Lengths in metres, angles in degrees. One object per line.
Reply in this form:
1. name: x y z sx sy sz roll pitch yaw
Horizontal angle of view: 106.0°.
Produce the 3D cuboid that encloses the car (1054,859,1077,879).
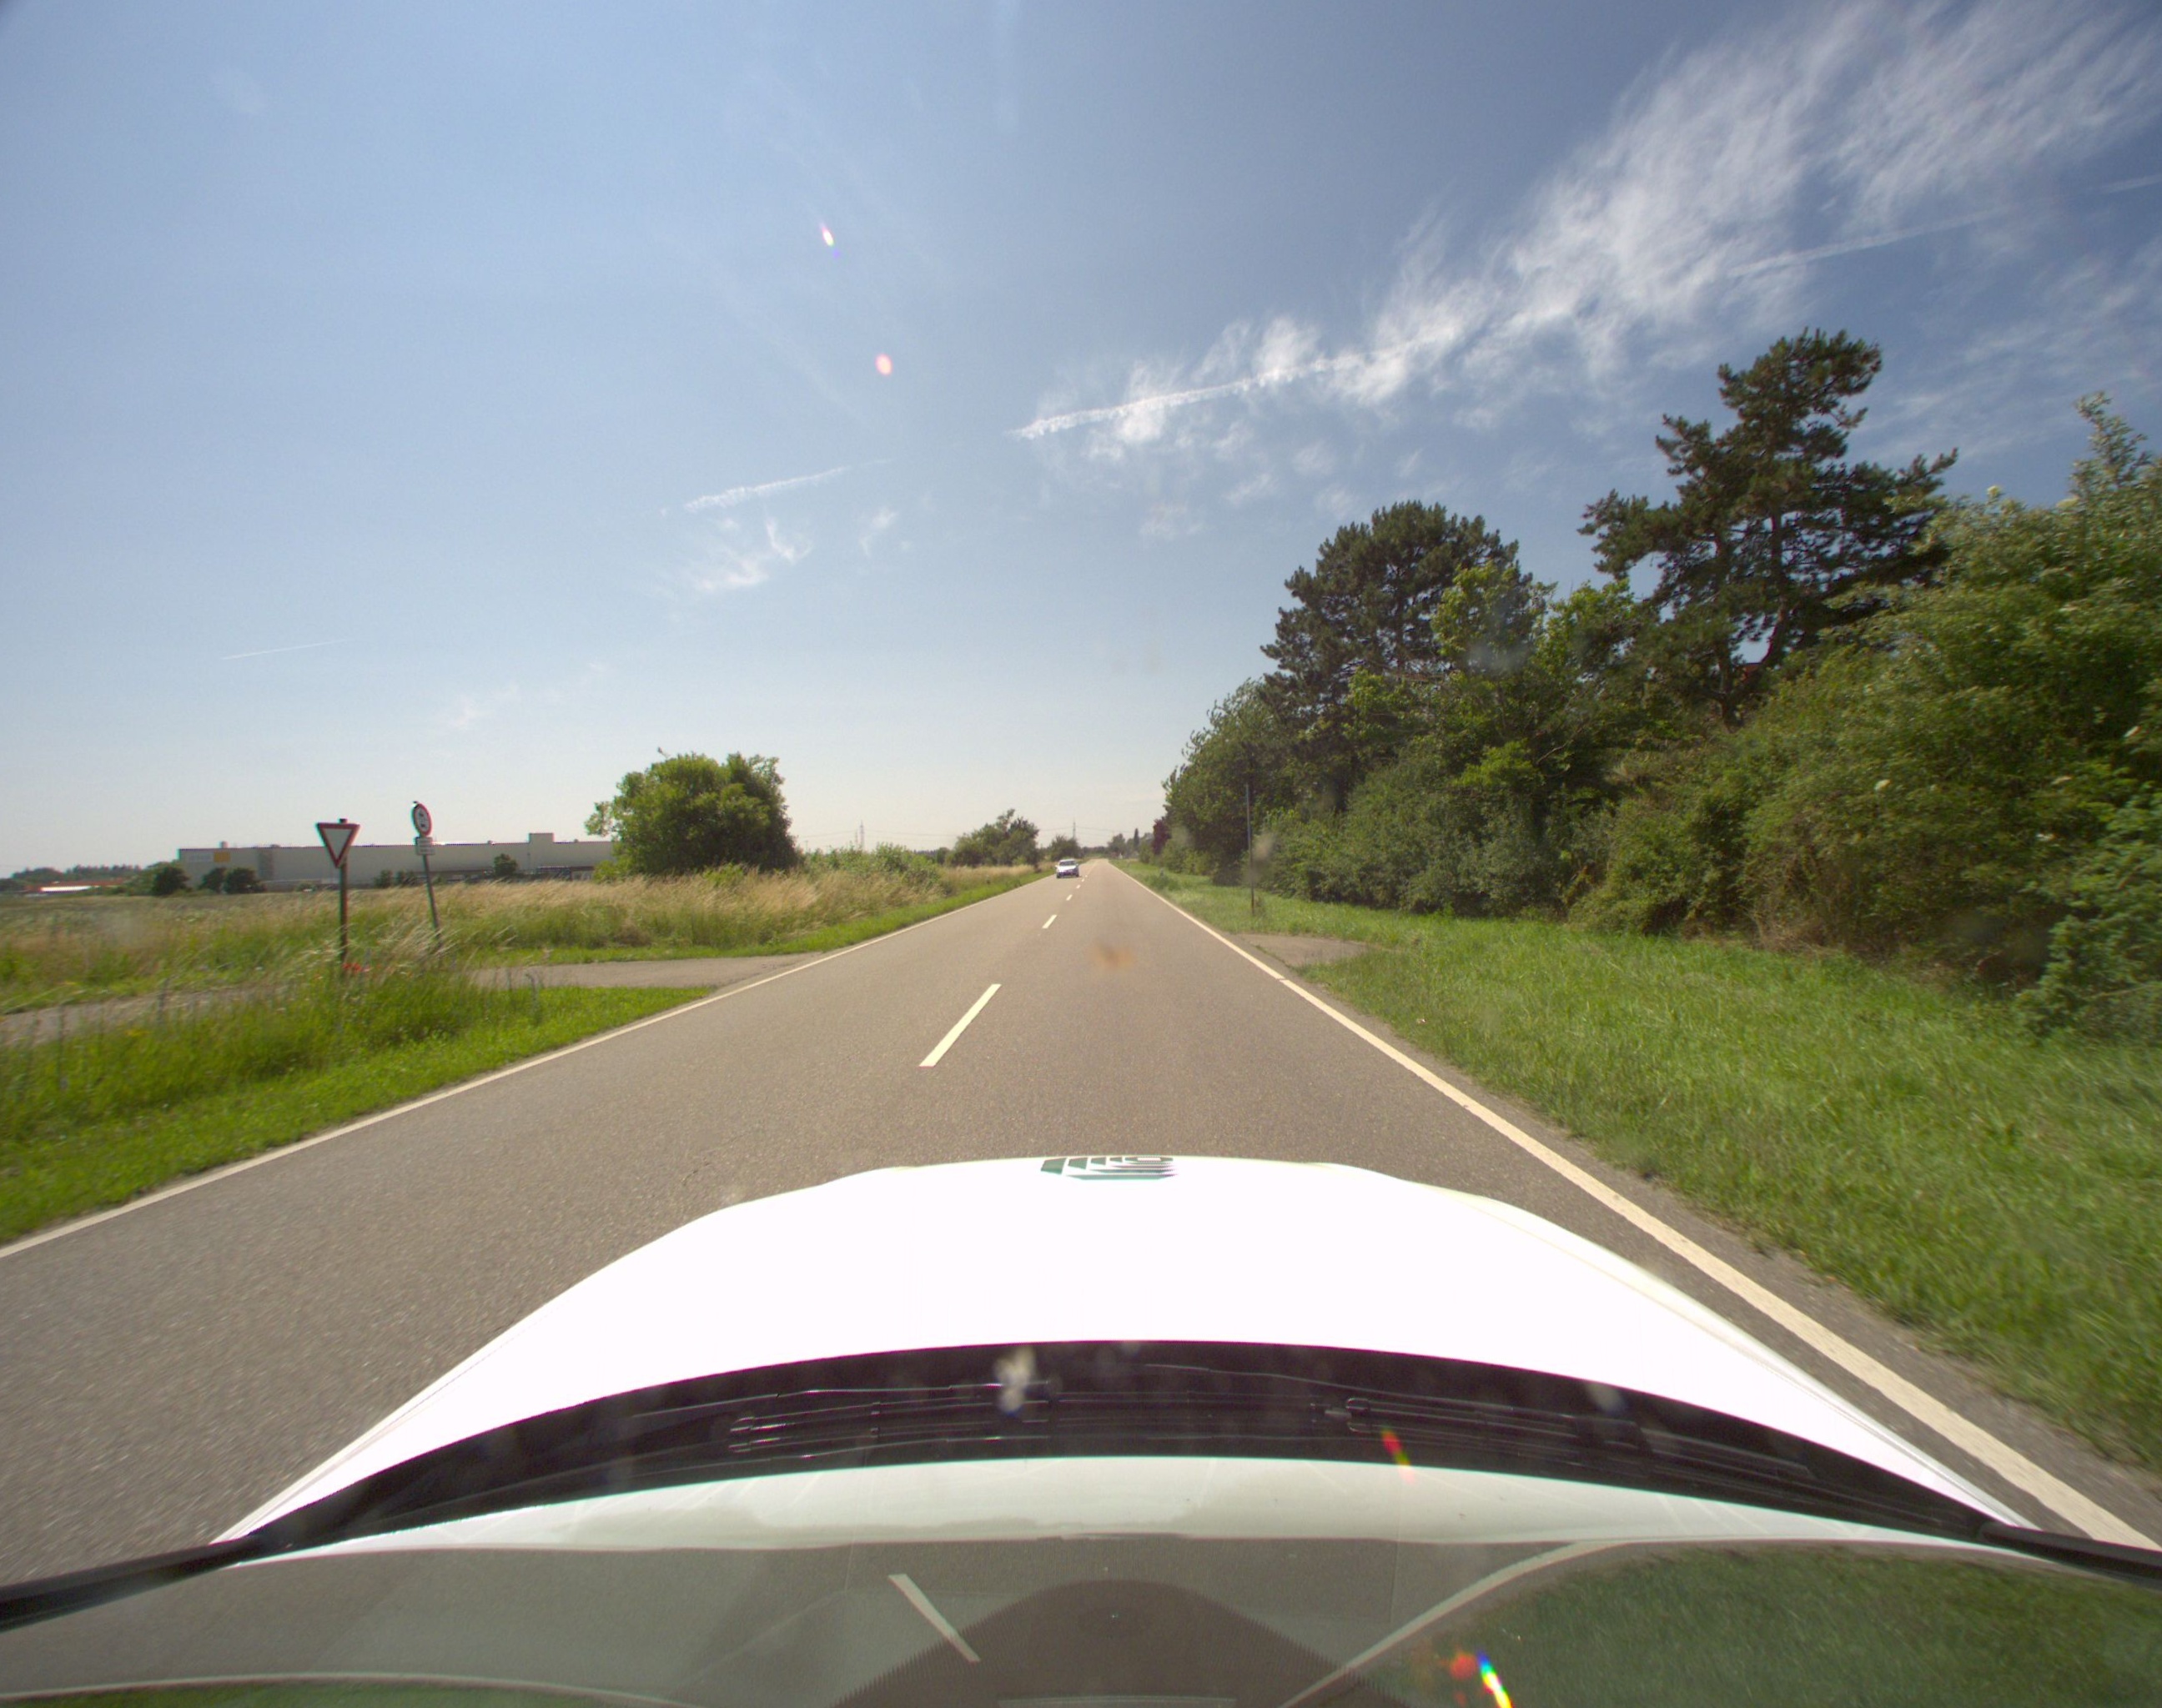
1. car: -1.245 1.202 66.389 1.673 1.421 4.422 -4 0 0
